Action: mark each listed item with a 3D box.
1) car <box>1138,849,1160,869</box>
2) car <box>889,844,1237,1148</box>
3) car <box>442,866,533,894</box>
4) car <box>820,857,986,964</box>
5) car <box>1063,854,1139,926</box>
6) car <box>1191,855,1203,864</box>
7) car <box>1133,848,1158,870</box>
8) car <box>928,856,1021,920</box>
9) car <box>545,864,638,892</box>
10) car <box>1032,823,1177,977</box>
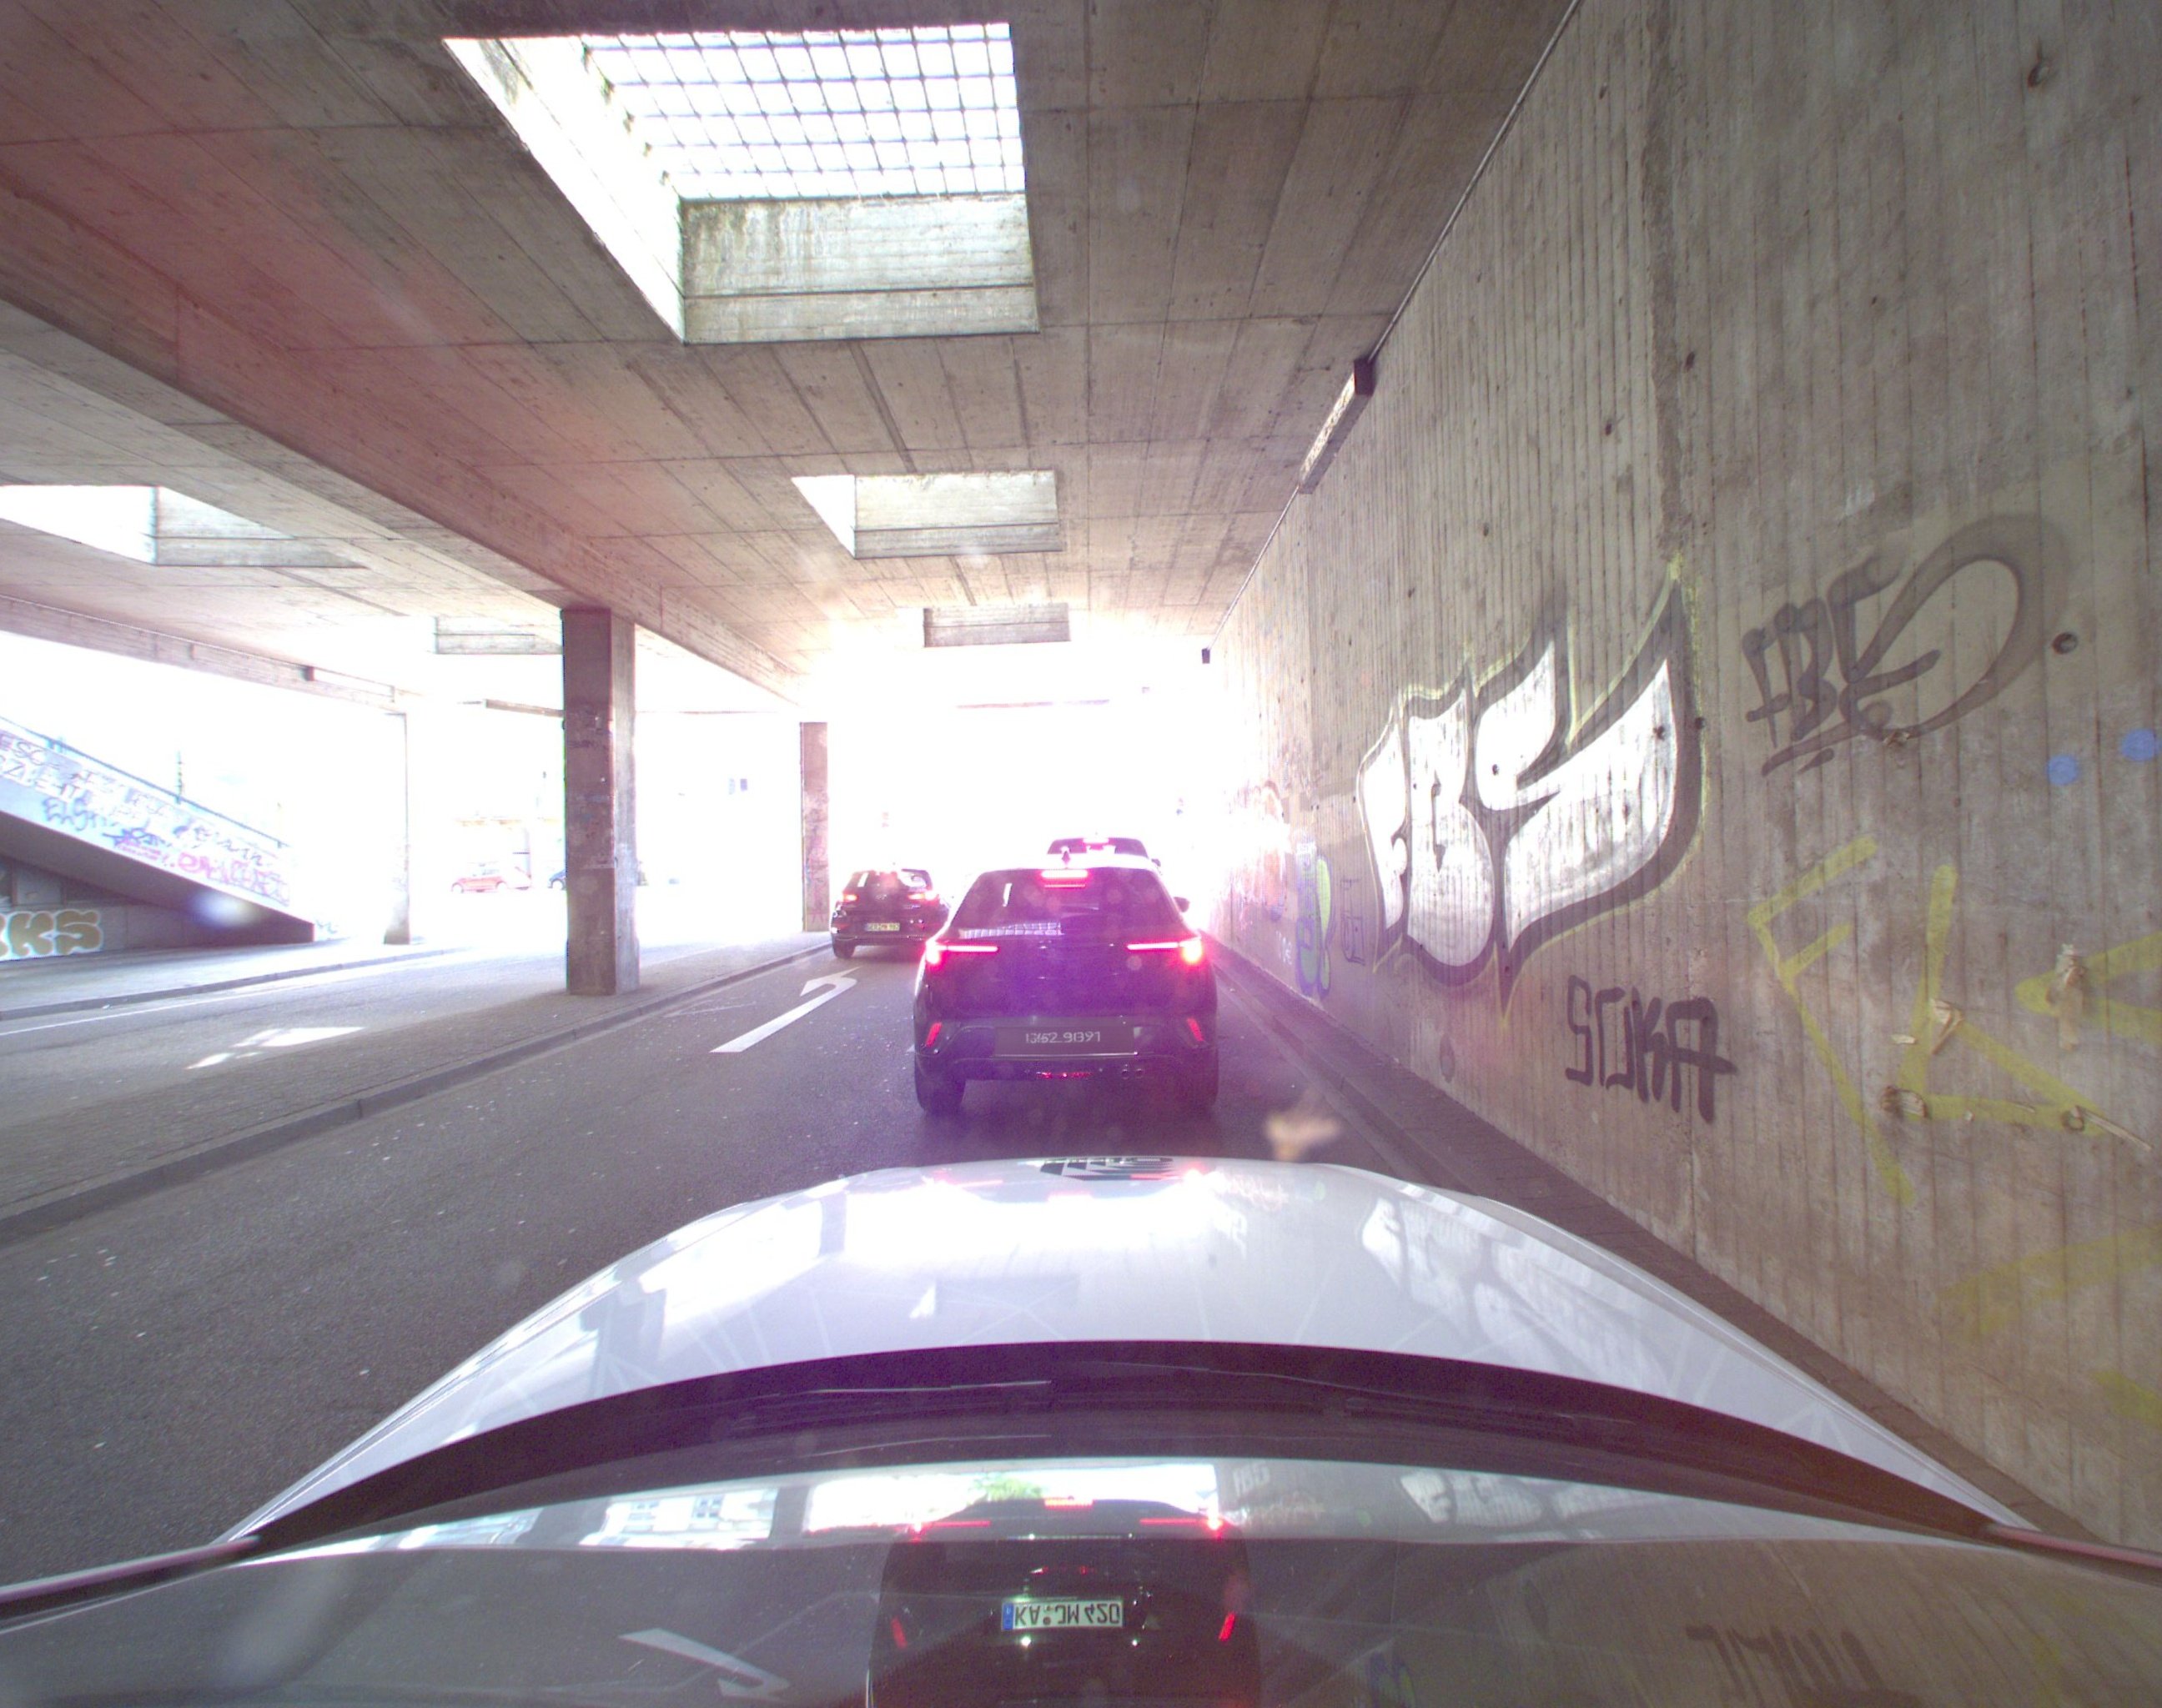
[{"bbox_3d":[5.753,0.428,68.346,1.745,1.667,3.950,0,-1,6],"label":"car"},{"bbox_3d":[-0.030,0.731,6.215,1.755,1.531,4.091,-1,0,2],"label":"car"},{"bbox_3d":[-32.931,1.432,45.258,3.748,1.475,1.749,-1,-1,0],"label":"car"},{"bbox_3d":[-2.751,0.803,13.474,1.755,1.480,3.846,-1,0,2],"label":"car"},{"bbox_3d":[0.491,0.766,19.372,1.603,1.513,4.055,-1,0,2],"label":"car"},{"bbox_3d":[22.014,1.134,154.969,1.805,1.667,4.833,0,-1,13],"label":"car"},{"bbox_3d":[4.966,0.384,62.242,1.745,1.667,3.950,0,-1,6],"label":"car"},{"bbox_3d":[-2.662,0.799,21.202,1.755,1.480,3.846,-1,0,2],"label":"car"},{"bbox_3d":[-27.175,1.312,45.281,4.096,1.475,1.737,-1,-1,0],"label":"car"},{"bbox_3d":[0.355,0.571,12.154,1.755,1.883,4.148,-1,0,2],"label":"car"}]
